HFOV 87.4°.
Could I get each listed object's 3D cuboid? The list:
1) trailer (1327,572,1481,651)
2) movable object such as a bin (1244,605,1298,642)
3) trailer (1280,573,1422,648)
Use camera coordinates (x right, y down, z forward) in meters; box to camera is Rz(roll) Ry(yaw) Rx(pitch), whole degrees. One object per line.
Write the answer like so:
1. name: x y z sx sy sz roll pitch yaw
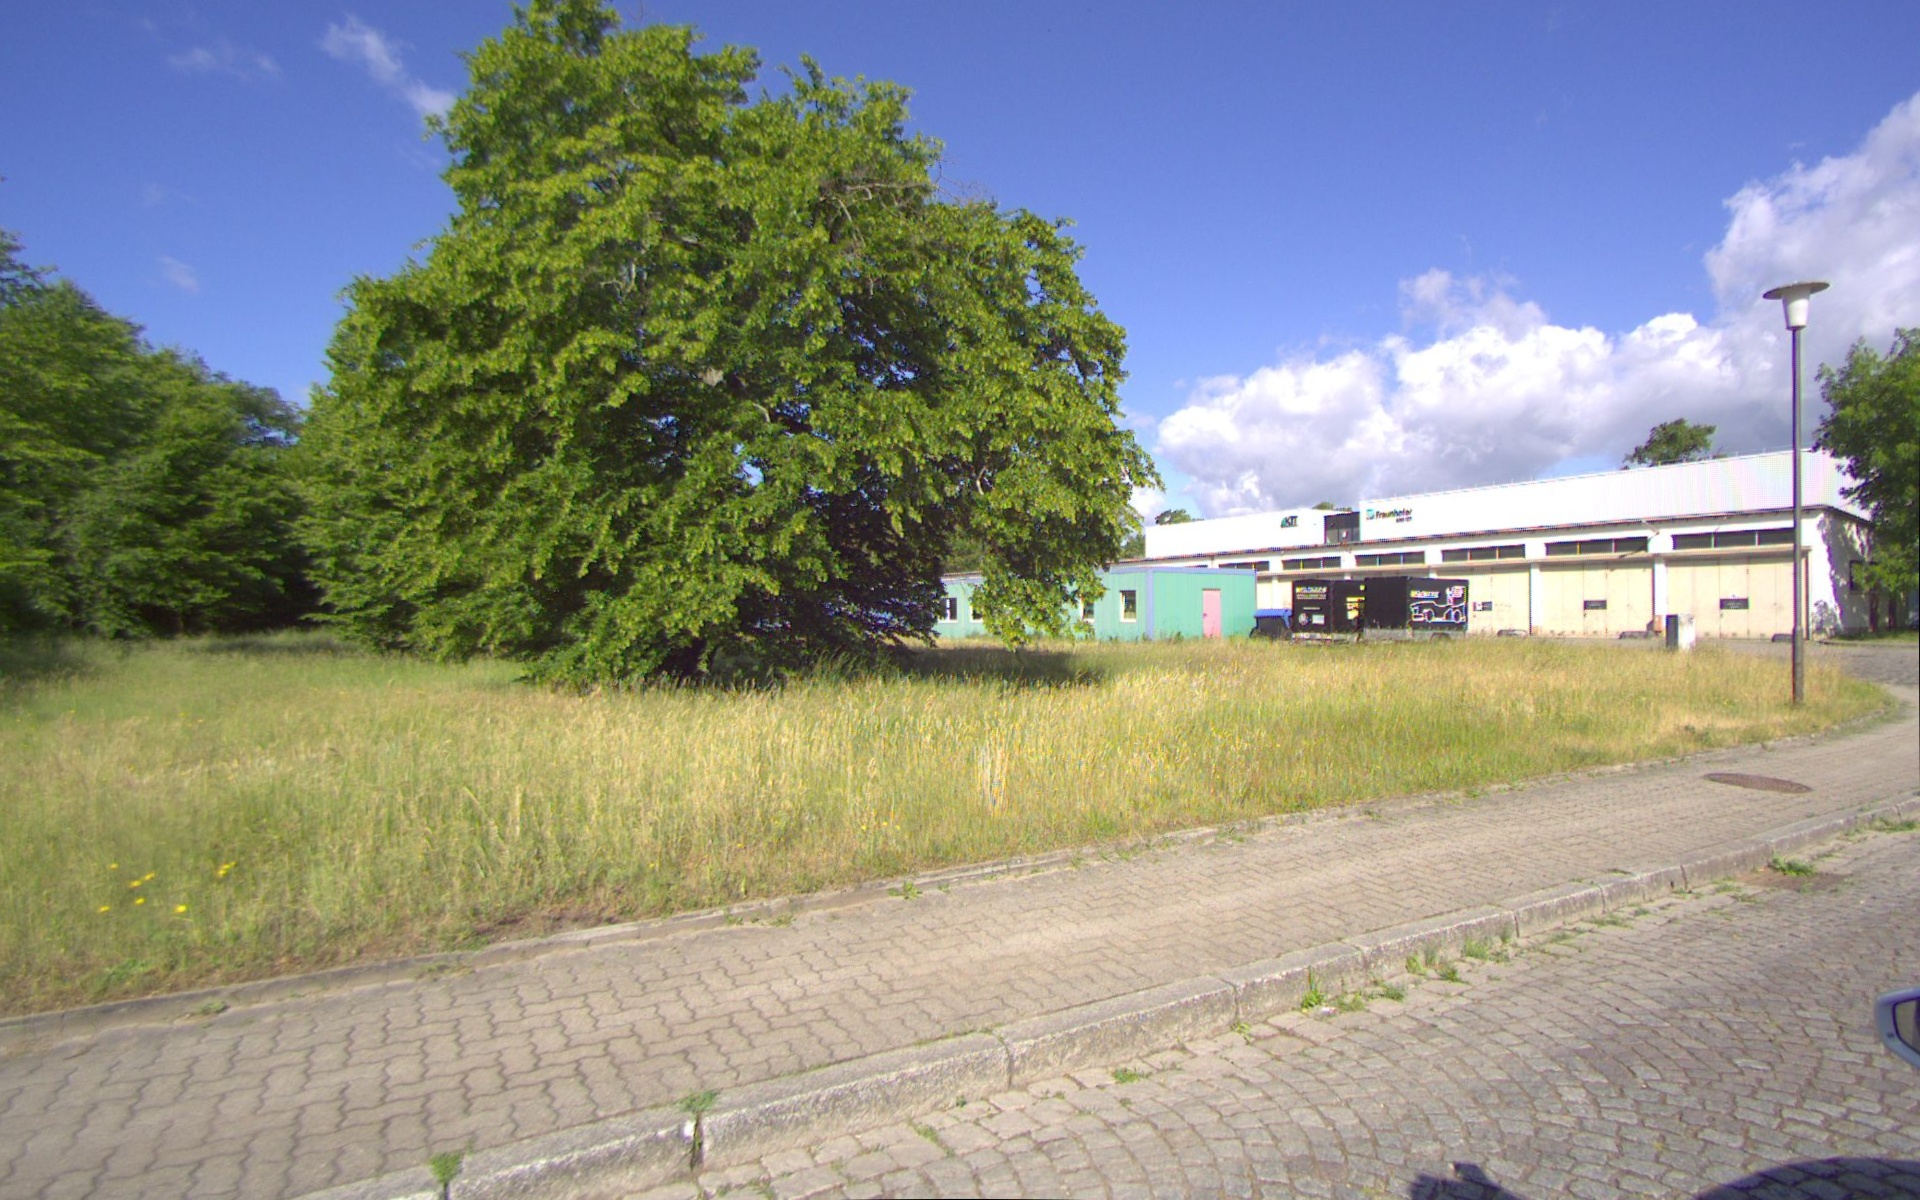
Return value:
1. trailer: 14.016 0.360 31.701 4.614 2.328 2.121 0 -1 -30
2. movable object such as a bin: 12.090 0.907 39.018 1.376 1.405 1.517 0 -1 -42
3. trailer: 13.262 0.340 33.947 4.924 2.386 2.076 0 0 -34
